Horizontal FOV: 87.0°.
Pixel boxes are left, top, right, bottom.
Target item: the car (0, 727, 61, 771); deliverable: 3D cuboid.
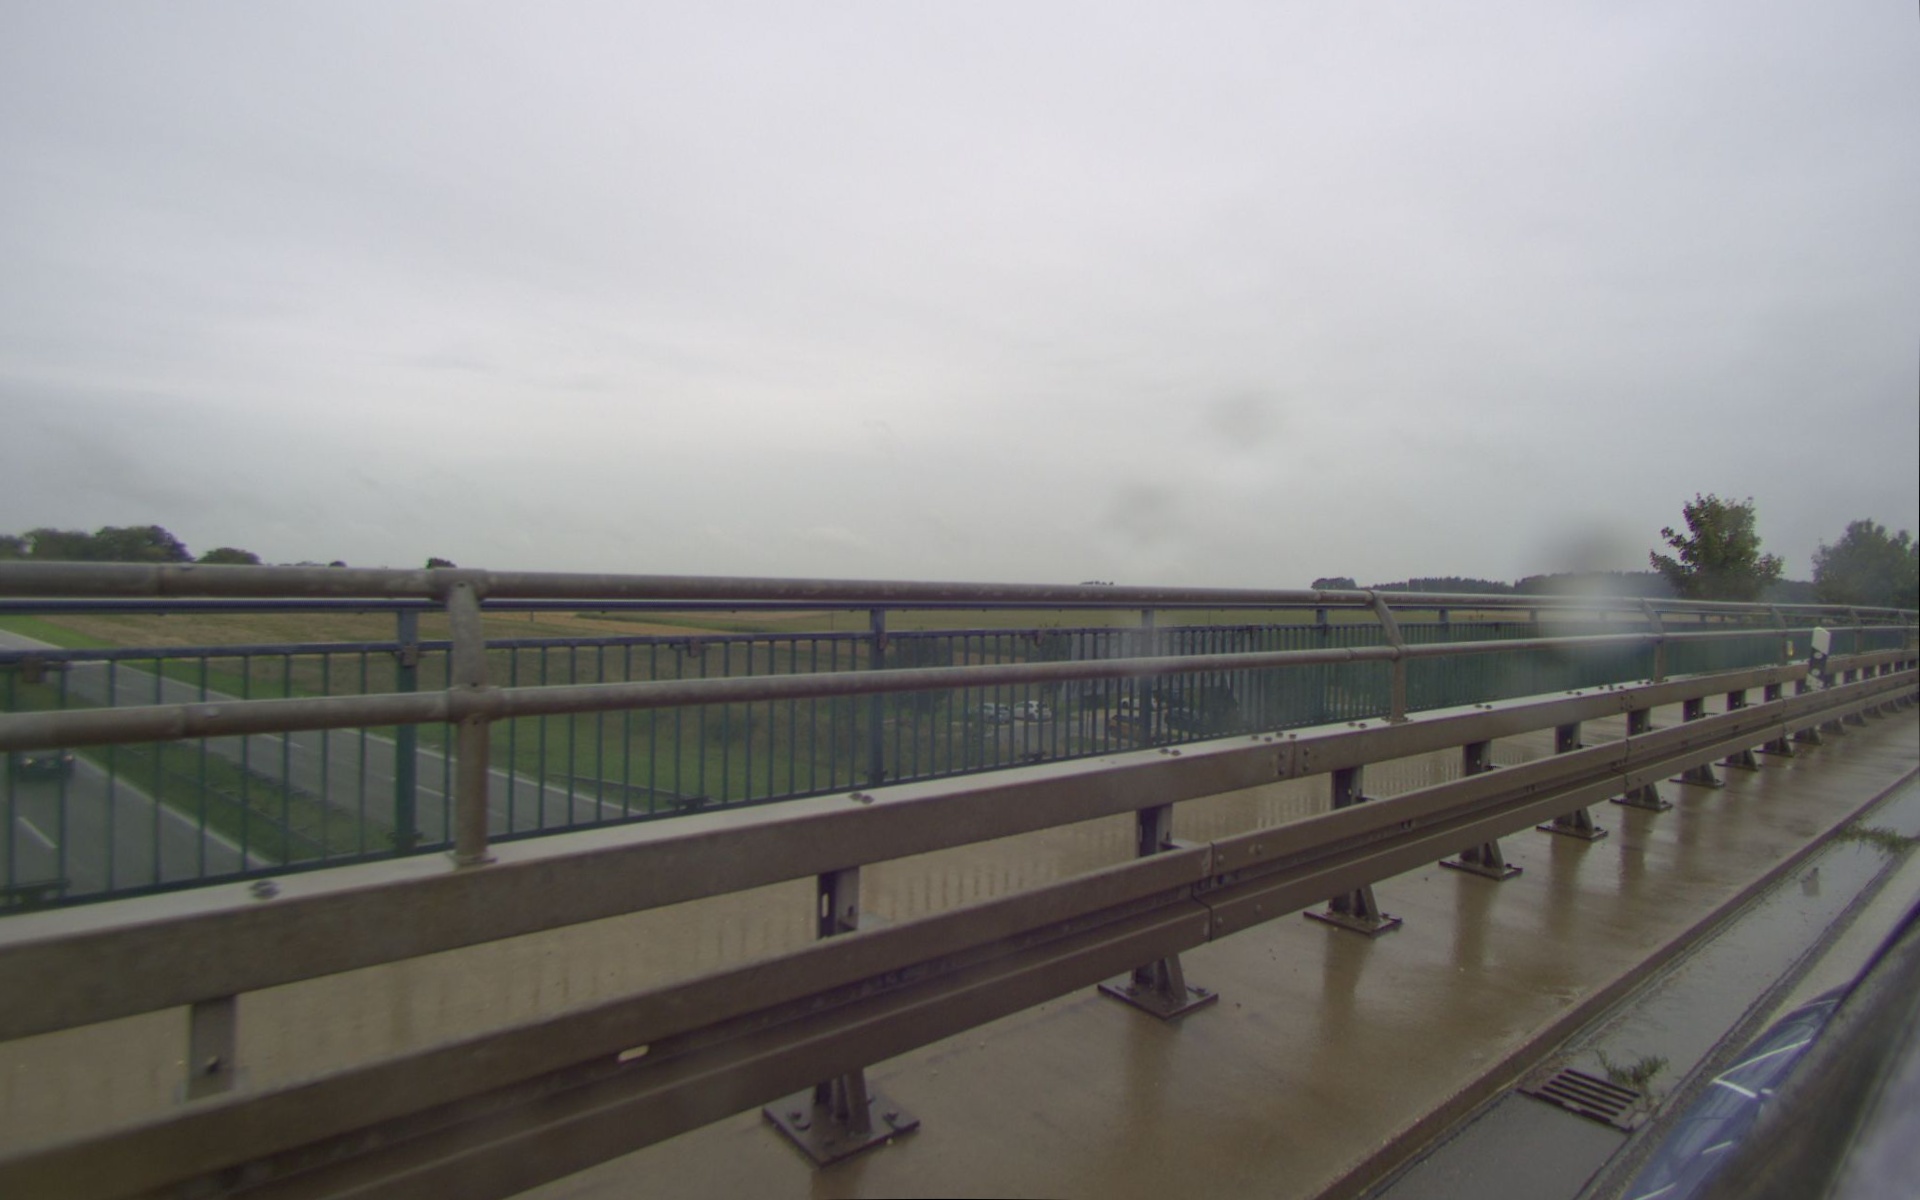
[{"bbox_3d":[-40.297,6.382,43.675,3.980,1.369,1.653,-1,-1,40],"label":"car"}]
